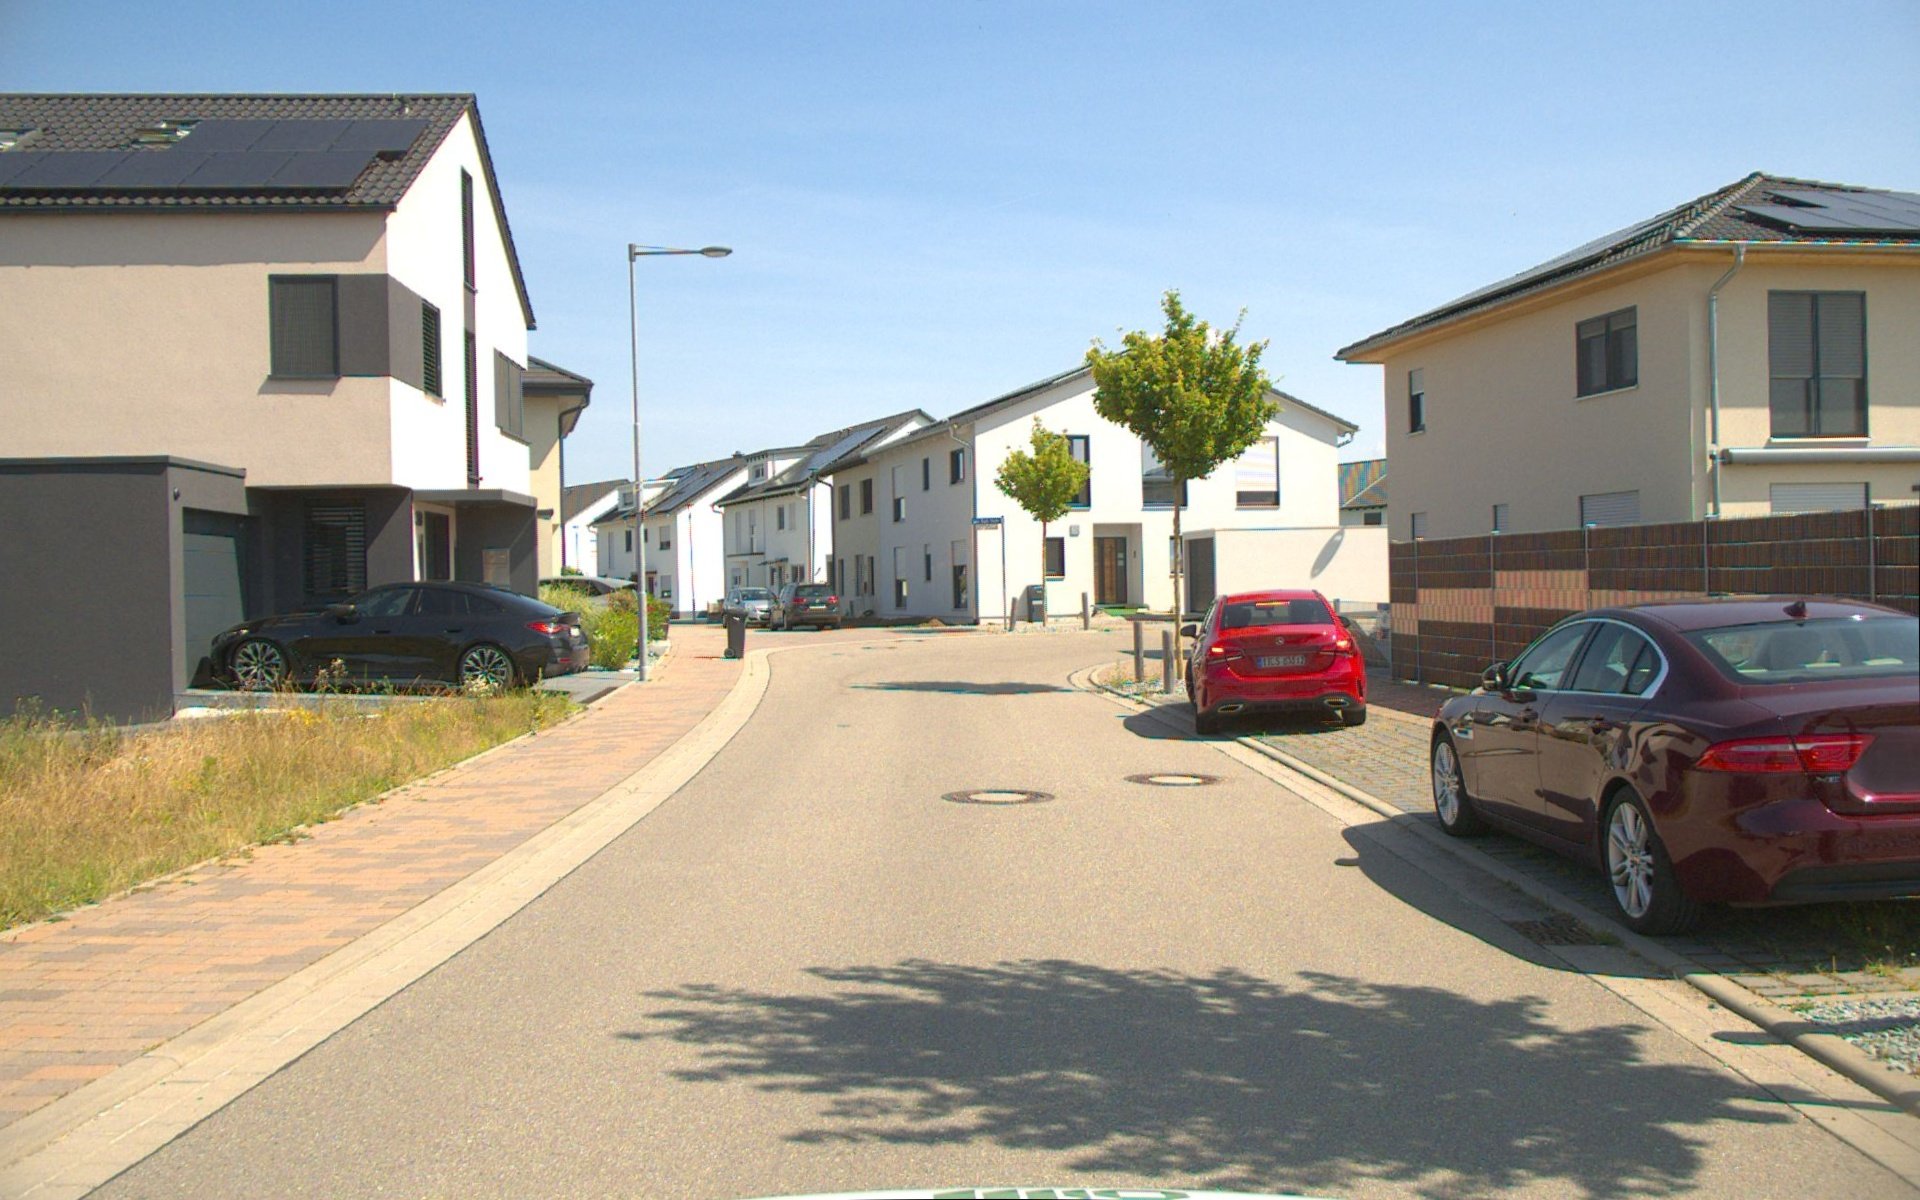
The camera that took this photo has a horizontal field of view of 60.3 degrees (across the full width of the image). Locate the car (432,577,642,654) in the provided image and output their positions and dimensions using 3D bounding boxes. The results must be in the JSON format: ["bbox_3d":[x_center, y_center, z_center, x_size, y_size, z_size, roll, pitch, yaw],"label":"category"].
[{"bbox_3d":[-8.722,0.303,34.347,3.906,1.512,1.754,-1,1,-1],"label":"car"}]

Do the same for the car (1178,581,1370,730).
[{"bbox_3d":[3.407,0.524,18.637,1.725,1.463,4.523,0,1,6],"label":"car"}]

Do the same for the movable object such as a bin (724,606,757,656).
[{"bbox_3d":[-4.231,0.598,31.881,0.523,0.952,0.526,1,0,6],"label":"movable object such as a bin"}]

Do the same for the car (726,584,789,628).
[{"bbox_3d":[-7.520,0.212,61.107,1.650,1.489,3.926,-2,1,-17],"label":"car"}]

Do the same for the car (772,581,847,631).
[{"bbox_3d":[-4.730,0.166,51.614,1.698,1.447,3.985,-2,1,-14],"label":"car"}]

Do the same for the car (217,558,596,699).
[{"bbox_3d":[-7.047,0.353,21.399,4.288,1.660,1.770,1,0,-3],"label":"car"}]

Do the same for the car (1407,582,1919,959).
[{"bbox_3d":[3.814,0.626,8.611,1.718,1.387,4.576,-2,1,0],"label":"car"}]

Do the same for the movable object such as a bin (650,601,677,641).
[{"bbox_3d":[-7.211,0.503,40.162,0.604,0.943,0.422,2,-1,-14],"label":"movable object such as a bin"}]
